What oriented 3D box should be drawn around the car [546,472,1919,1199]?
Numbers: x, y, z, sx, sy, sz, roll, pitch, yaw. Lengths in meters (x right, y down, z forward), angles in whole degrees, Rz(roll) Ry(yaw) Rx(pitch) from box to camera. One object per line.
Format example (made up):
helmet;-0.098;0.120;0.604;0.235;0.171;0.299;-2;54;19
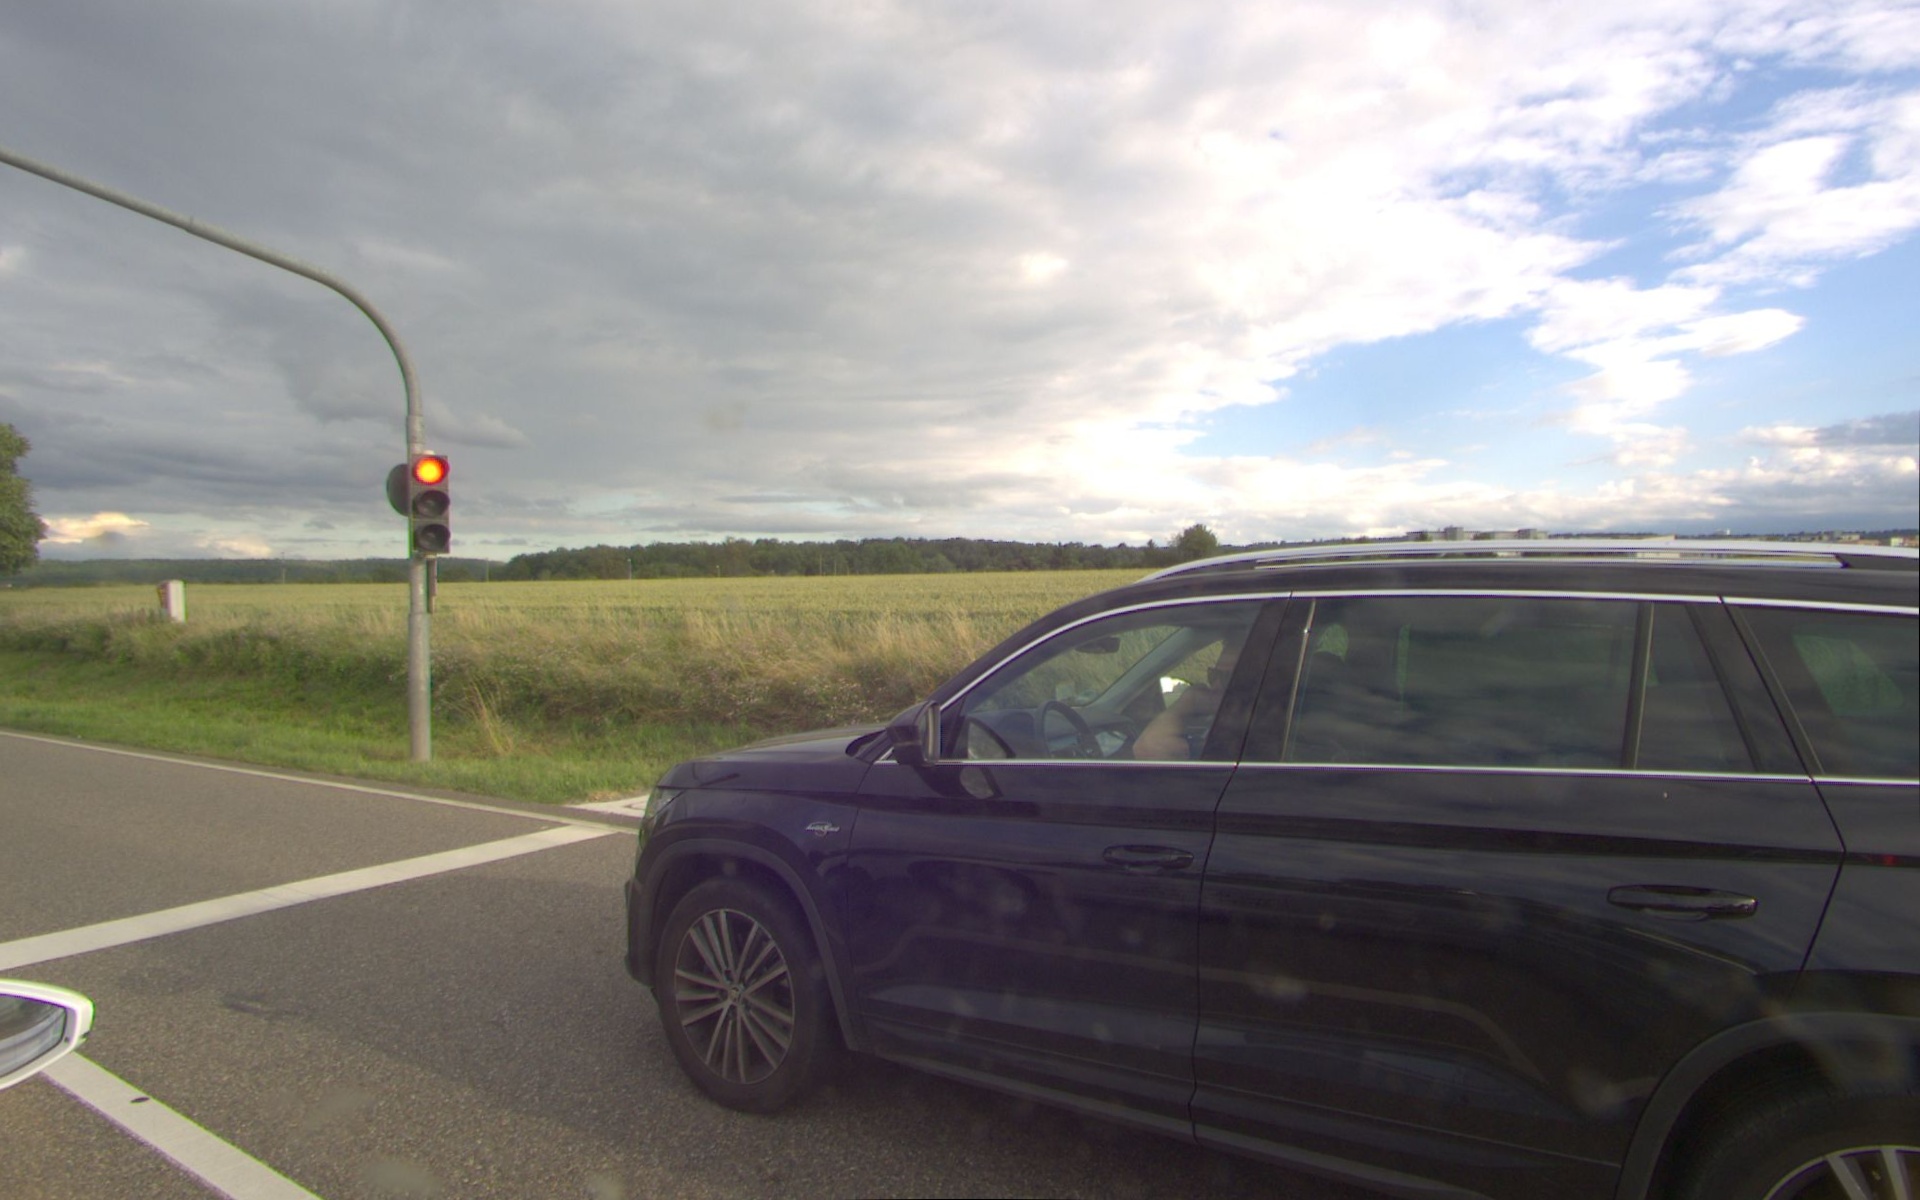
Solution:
car;0.885;0.675;2.999;4.355;1.689;1.716;0;-1;32
